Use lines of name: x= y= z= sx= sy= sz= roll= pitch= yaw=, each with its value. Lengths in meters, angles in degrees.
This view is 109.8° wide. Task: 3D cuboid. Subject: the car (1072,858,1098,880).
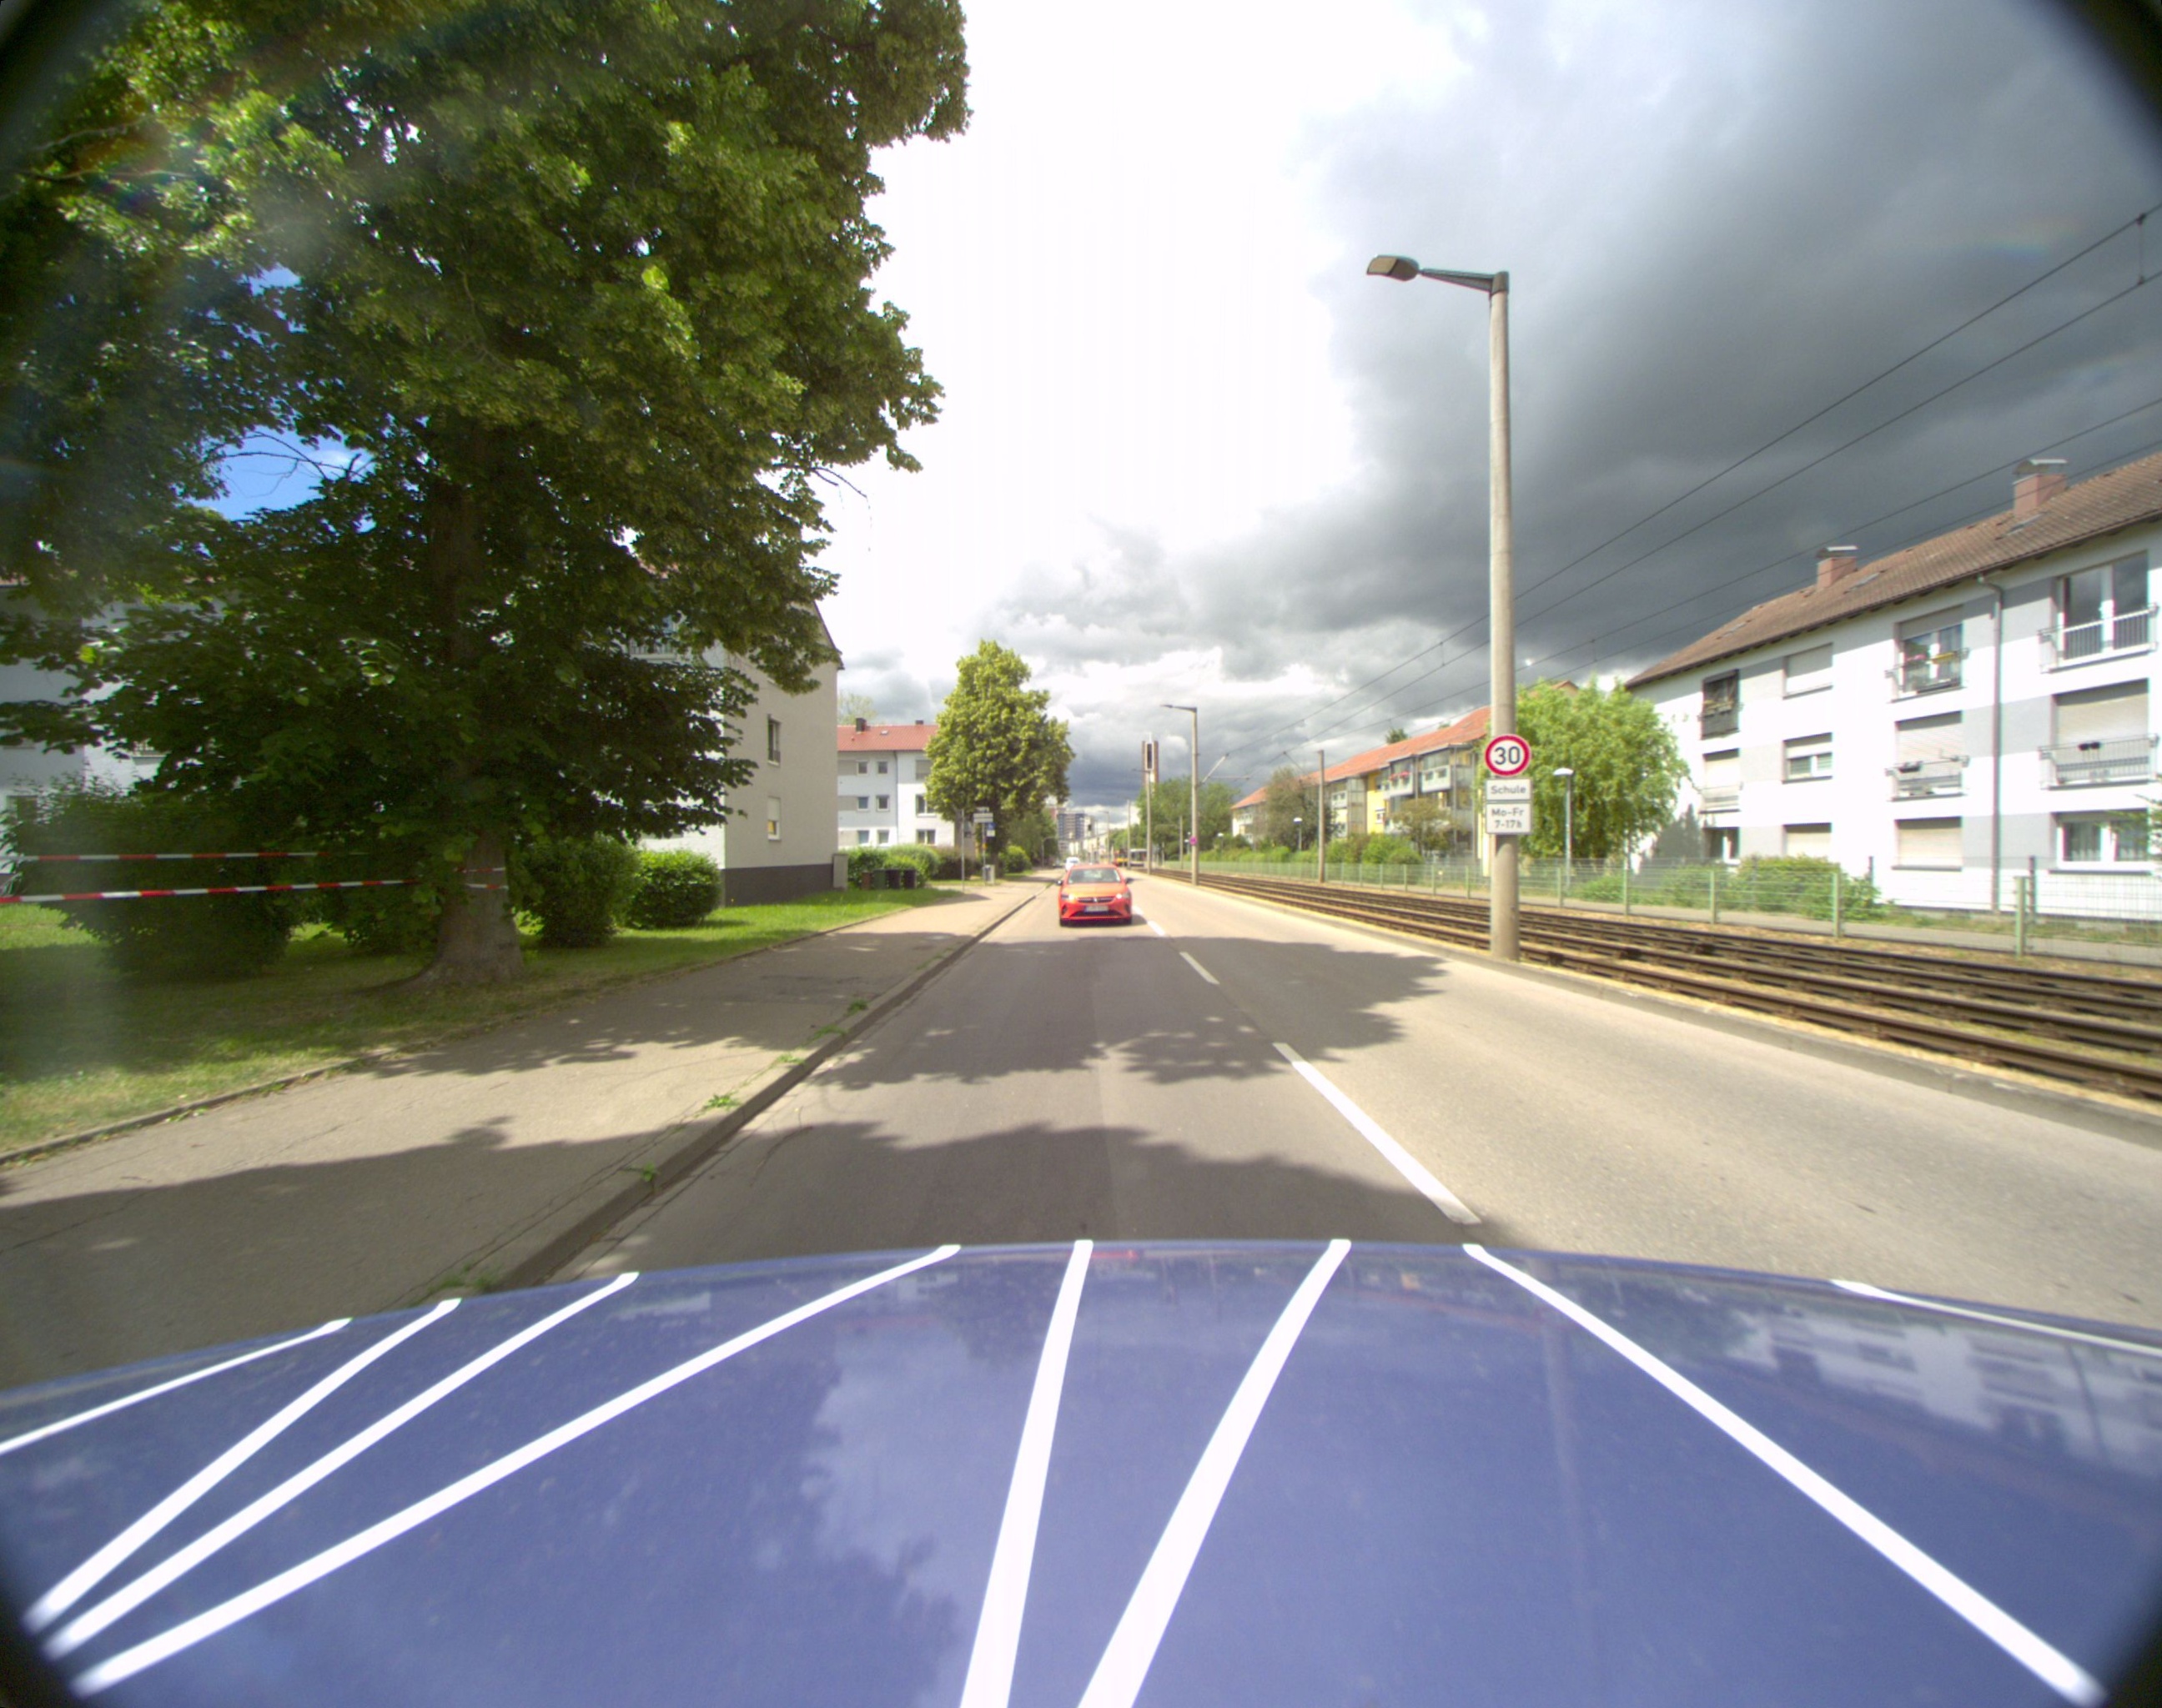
car: x=0.269 y=1.043 z=54.678 sx=1.756 sy=1.433 sz=4.226 roll=-1 pitch=0 yaw=0

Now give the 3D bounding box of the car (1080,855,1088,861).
car: x=0.688 y=1.051 z=191.479 sx=1.633 sy=1.424 sz=4.166 roll=-2 pitch=0 yaw=-3

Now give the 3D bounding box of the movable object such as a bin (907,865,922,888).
movable object such as a bin: x=-7.024 y=0.961 z=32.002 sx=0.497 sy=0.949 sz=0.580 roll=1 pitch=0 yaw=0

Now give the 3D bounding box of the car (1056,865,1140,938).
car: x=0.384 y=1.030 z=18.163 sx=1.756 sy=1.433 sz=4.226 roll=-1 pitch=0 yaw=0

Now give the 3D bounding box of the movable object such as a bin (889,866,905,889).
movable object such as a bin: x=-7.709 y=0.961 z=31.855 sx=0.501 sy=0.941 sz=0.551 roll=1 pitch=0 yaw=0

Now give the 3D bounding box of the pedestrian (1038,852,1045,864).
pedestrian: x=-6.119 y=0.658 z=118.116 sx=0.811 sy=1.761 sz=0.817 roll=2 pitch=1 yaw=5

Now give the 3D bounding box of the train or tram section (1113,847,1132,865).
train or tram section: x=9.981 y=0.480 z=183.881 sx=2.988 sy=3.840 sz=18.535 roll=-2 pitch=0 yaw=-1

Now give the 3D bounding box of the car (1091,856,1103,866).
car: x=2.369 y=1.036 z=113.771 sx=1.628 sy=1.516 sz=3.581 roll=-1 pitch=0 yaw=0

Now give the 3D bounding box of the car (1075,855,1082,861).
car: x=-0.649 y=1.120 z=213.171 sx=1.765 sy=1.543 sz=3.999 roll=-1 pitch=0 yaw=-3
